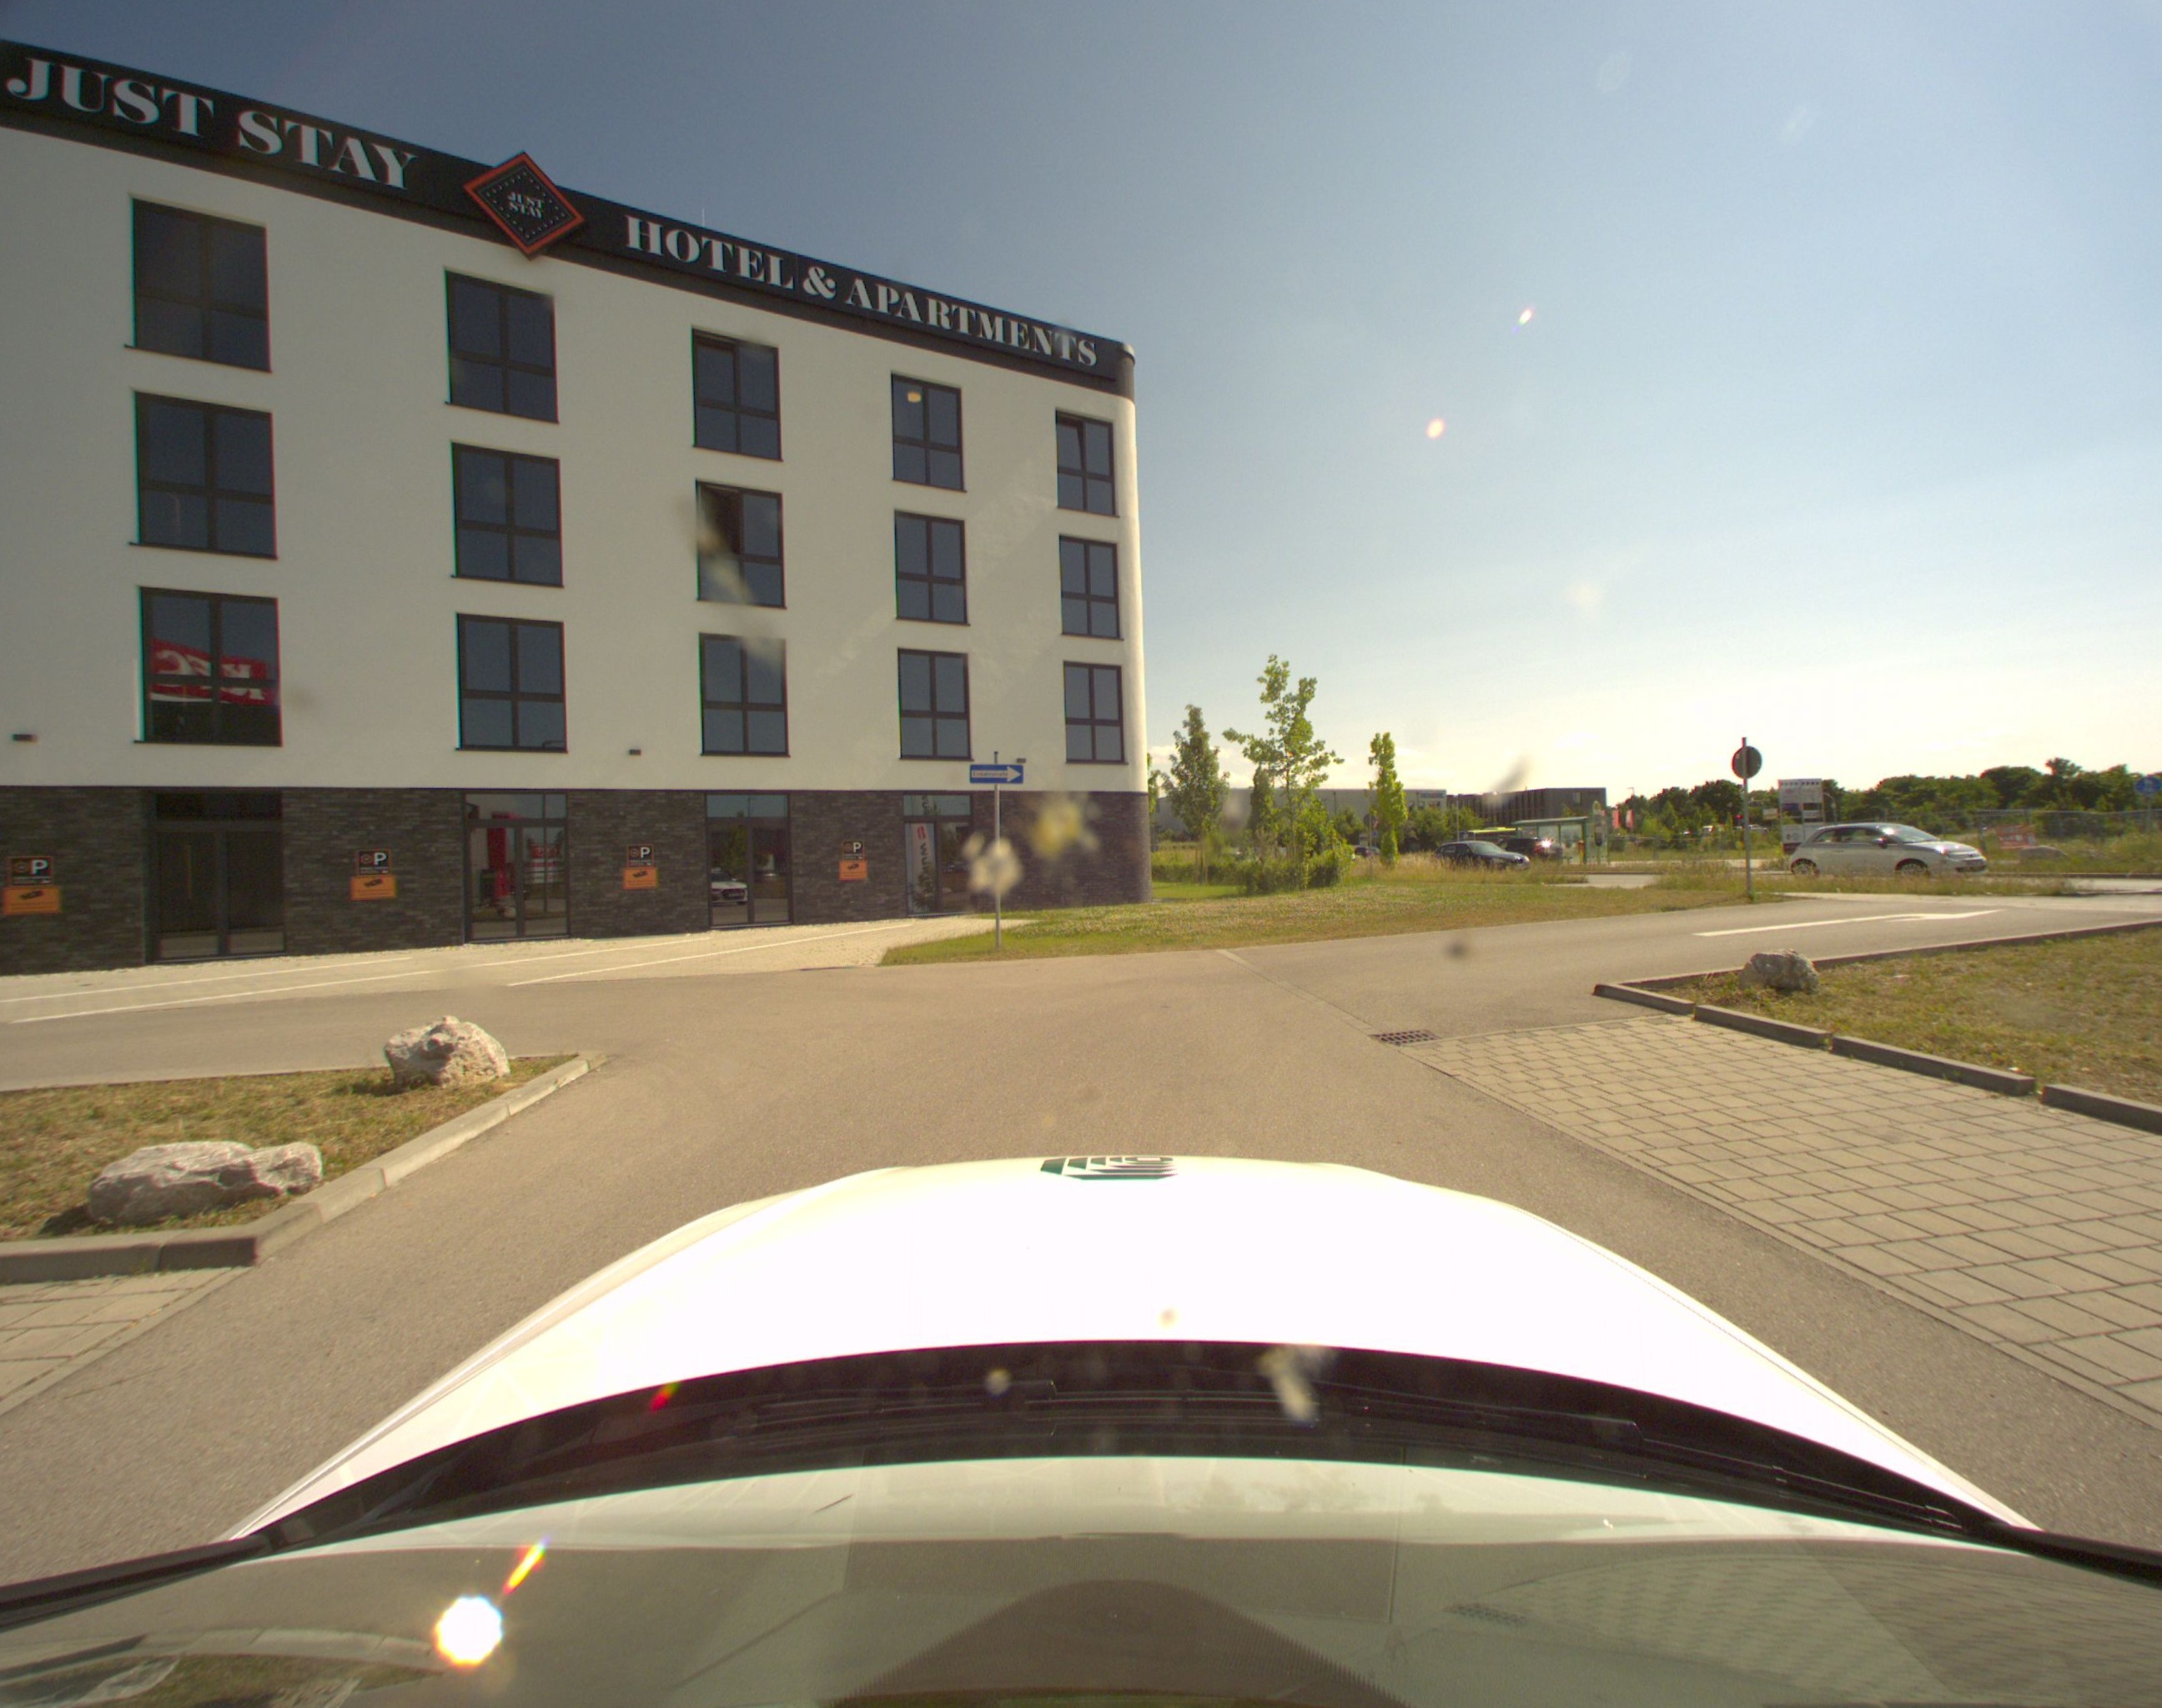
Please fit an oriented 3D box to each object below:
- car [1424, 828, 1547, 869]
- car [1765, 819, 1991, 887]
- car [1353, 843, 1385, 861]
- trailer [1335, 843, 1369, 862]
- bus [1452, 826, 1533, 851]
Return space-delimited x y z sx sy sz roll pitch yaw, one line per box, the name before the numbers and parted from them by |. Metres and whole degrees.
car | 16.312 -0.220 33.131 1.915 1.551 4.358 -1 0 -20
car | 20.142 -0.030 20.794 1.739 1.551 3.763 -1 0 -16
car | 30.983 -0.251 87.637 1.805 1.859 4.025 -1 0 42
trailer | 28.225 -0.178 84.759 1.805 1.859 4.025 -1 0 42
bus | 50.769 -1.991 100.431 11.595 2.735 2.557 -2 0 -27
